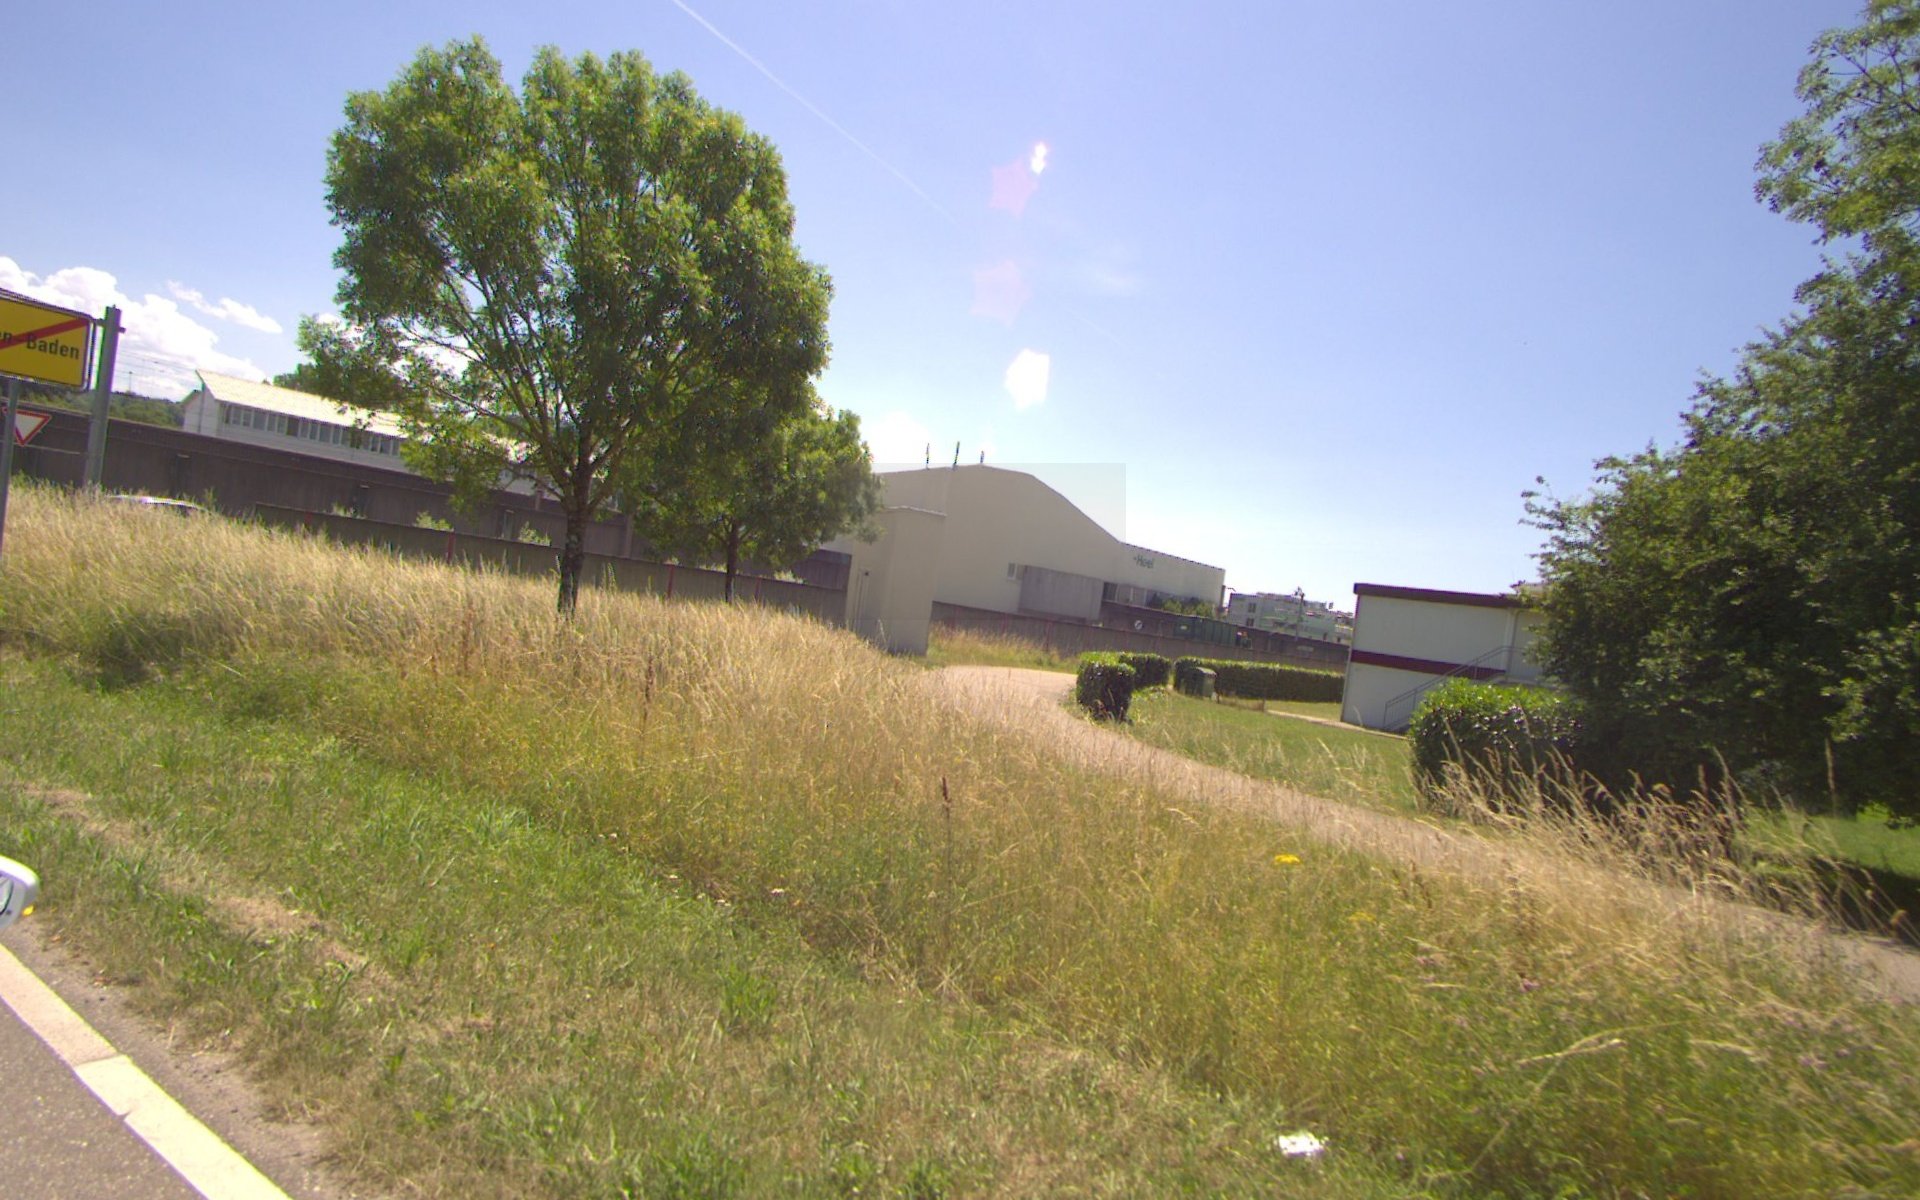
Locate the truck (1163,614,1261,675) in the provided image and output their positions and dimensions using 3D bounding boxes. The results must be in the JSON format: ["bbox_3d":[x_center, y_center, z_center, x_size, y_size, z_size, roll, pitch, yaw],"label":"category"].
[{"bbox_3d":[20.816,3.744,82.475,2.964,3.762,10.517,7,-2,41],"label":"truck"}]

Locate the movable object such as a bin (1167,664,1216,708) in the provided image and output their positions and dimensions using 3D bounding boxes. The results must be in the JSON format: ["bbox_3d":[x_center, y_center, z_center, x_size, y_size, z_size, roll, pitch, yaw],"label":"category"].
[{"bbox_3d":[10.303,3.842,44.829,1.540,1.706,1.225,7,-1,42],"label":"movable object such as a bin"}]

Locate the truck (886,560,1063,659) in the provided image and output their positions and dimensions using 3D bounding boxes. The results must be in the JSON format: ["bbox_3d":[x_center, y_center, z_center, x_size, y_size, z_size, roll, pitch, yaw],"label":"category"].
[{"bbox_3d":[1.151,0.708,58.598,2.964,4.228,11.760,7,-2,41],"label":"truck"}]

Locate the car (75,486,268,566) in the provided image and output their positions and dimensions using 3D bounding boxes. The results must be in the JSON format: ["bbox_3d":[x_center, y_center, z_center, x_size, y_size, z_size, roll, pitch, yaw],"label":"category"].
[{"bbox_3d":[-22.977,-2.123,29.441,1.970,1.520,3.989,8,-2,38],"label":"car"}]
